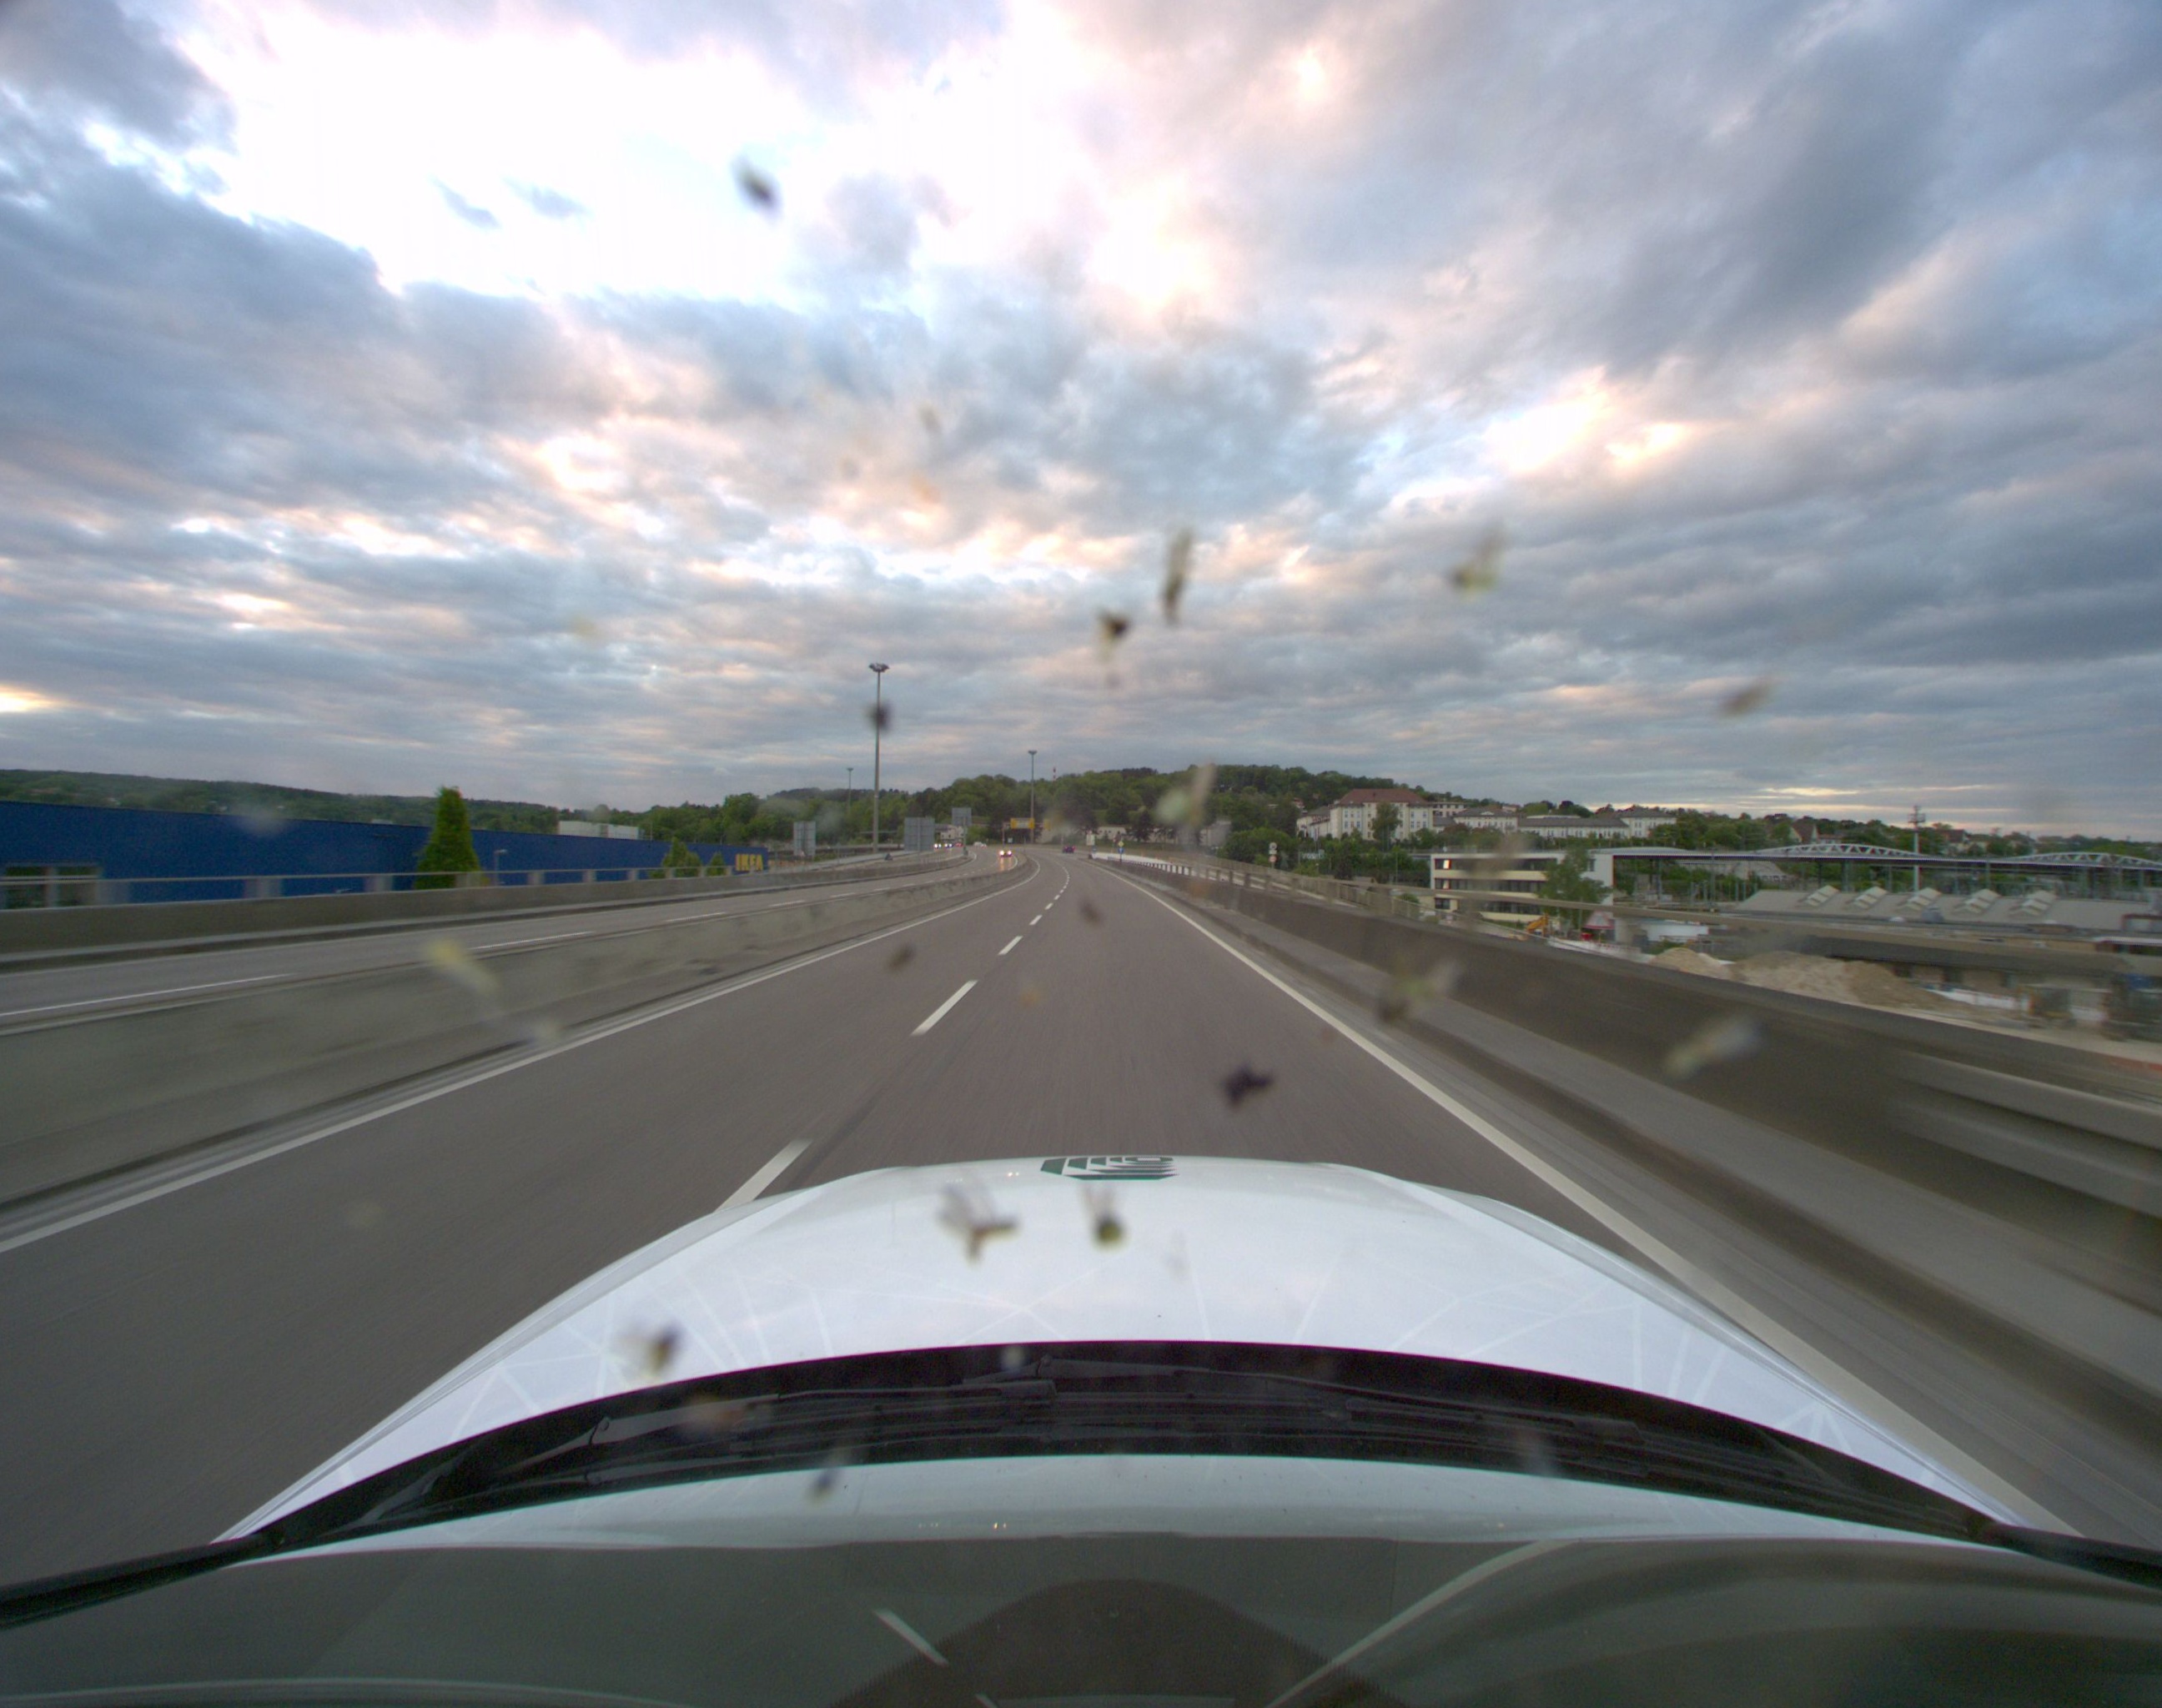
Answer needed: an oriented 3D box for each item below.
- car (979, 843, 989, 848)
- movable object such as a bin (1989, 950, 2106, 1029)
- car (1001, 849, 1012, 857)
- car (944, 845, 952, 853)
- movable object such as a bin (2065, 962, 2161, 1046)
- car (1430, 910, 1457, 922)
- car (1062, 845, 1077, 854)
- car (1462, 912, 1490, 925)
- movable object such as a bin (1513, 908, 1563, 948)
[{"bbox_3d":[-29.710,-2.548,248.914,1.639,1.388,3.966,-1,1,-26],"label":"car"},{"bbox_3d":[62.446,8.712,52.658,4.947,4.310,2.772,6,-1,-14],"label":"movable object such as a bin"},{"bbox_3d":[-13.210,-0.184,143.766,1.827,1.480,4.277,0,-1,-7],"label":"car"},{"bbox_3d":[-41.147,-1.446,252.292,1.643,1.715,3.976,-19,2,-17],"label":"car"},{"bbox_3d":[63.142,9.081,49.112,4.947,4.309,2.772,6,0,-14],"label":"movable object such as a bin"},{"bbox_3d":[55.859,9.521,125.518,4.014,1.565,1.813,4,2,-33],"label":"car"},{"bbox_3d":[-2.508,-0.892,171.627,2.307,1.763,4.243,1,0,-14],"label":"car"},{"bbox_3d":[57.785,9.446,119.080,4.014,1.565,1.813,4,2,-33],"label":"car"},{"bbox_3d":[58.087,9.363,103.596,2.777,4.310,4.939,6,-1,-11],"label":"movable object such as a bin"}]
